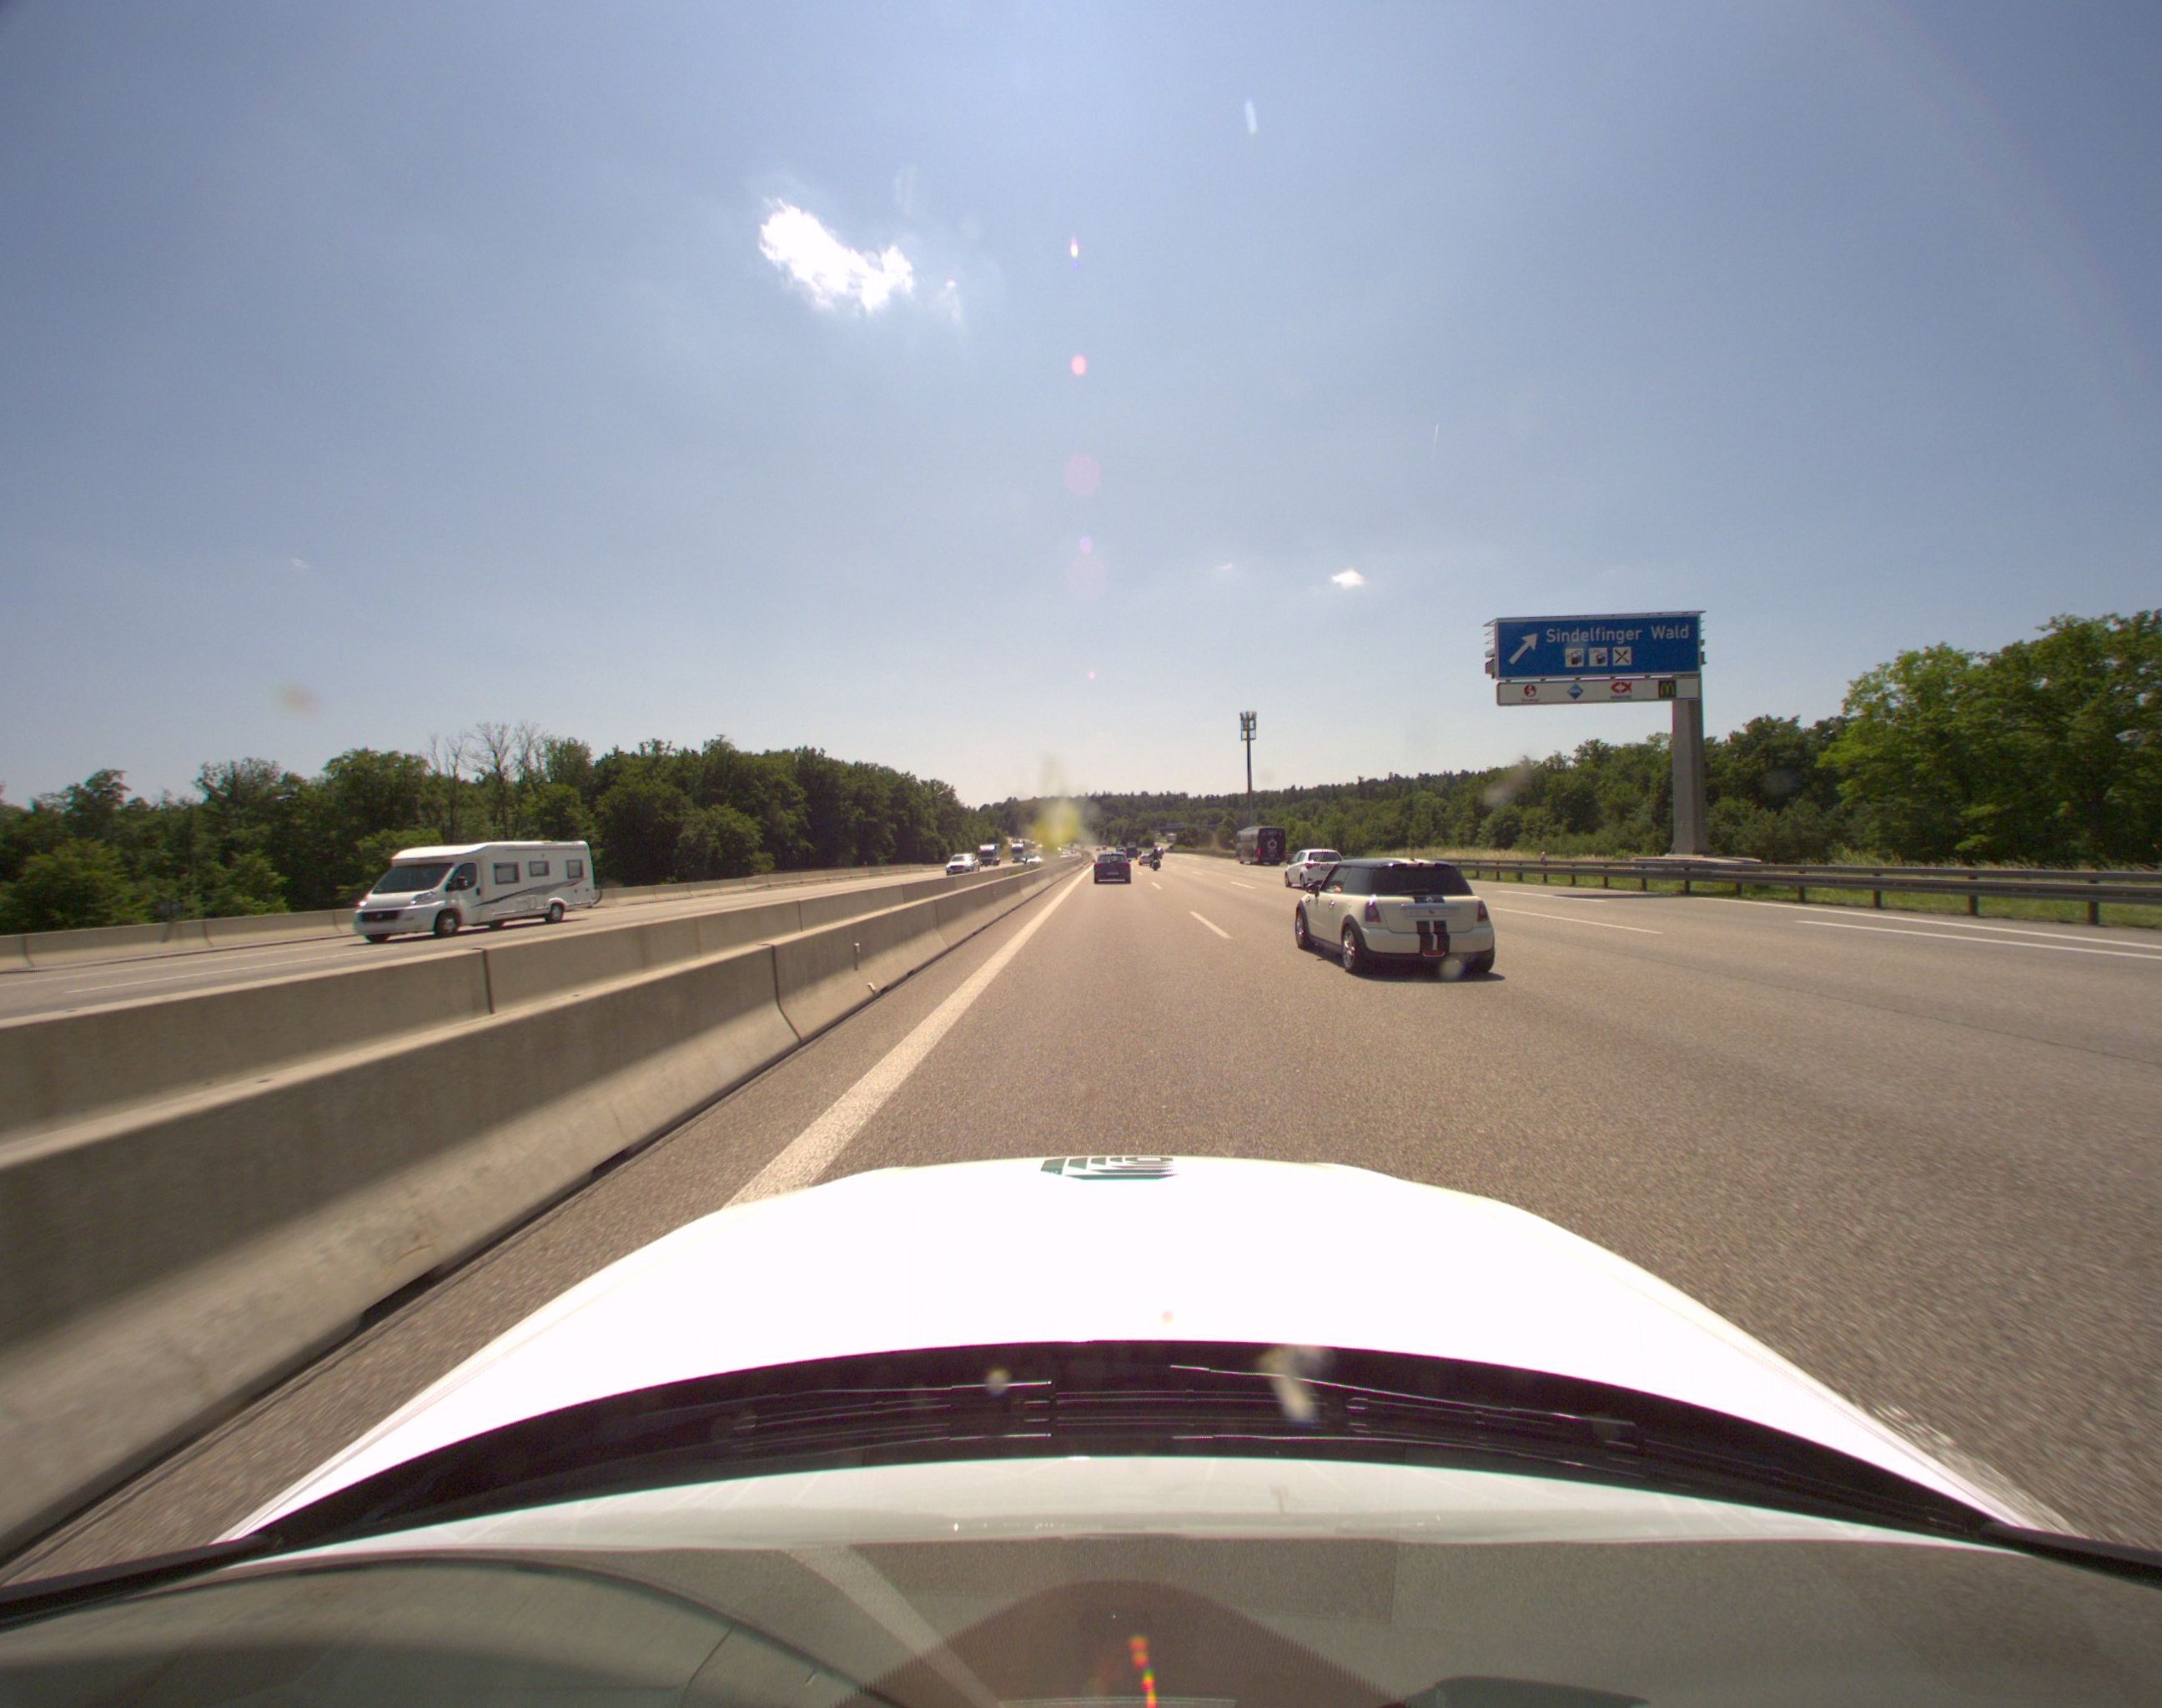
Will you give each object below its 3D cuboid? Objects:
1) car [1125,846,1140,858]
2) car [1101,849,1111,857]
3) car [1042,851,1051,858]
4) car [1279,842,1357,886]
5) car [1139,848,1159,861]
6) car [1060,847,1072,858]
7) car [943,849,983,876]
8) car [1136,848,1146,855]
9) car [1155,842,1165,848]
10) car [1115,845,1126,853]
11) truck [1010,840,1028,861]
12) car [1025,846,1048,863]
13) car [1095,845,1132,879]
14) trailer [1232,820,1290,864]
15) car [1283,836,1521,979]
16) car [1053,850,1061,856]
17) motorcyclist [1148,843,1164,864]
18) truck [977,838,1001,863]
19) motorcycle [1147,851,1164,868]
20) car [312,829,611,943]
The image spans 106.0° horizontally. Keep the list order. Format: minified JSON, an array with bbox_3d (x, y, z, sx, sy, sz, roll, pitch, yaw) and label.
[{"bbox_3d":[8.156,-0.267,128.833,2.091,1.851,4.079,-2,0,-1],"label":"car"},{"bbox_3d":[4.347,-0.182,141.639,1.532,1.212,3.457,-3,0,-3],"label":"car"},{"bbox_3d":[-7.745,0.115,183.238,1.791,1.481,4.399,-4,0,2],"label":"car"},{"bbox_3d":[8.884,0.352,30.926,1.660,1.433,4.376,-5,0,1],"label":"car"},{"bbox_3d":[6.591,0.034,79.176,1.776,1.265,3.461,-2,0,1],"label":"car"},{"bbox_3d":[-2.621,-0.280,143.383,1.766,1.879,5.215,-1,1,3],"label":"car"},{"bbox_3d":[-8.746,0.566,61.018,1.986,1.787,5.321,-4,0,2],"label":"car"},{"bbox_3d":[11.878,-0.509,161.560,1.603,1.212,3.460,-3,0,0],"label":"car"},{"bbox_3d":[16.624,-1.861,171.760,1.603,1.212,3.460,-3,0,0],"label":"car"},{"bbox_3d":[8.755,-1.206,179.449,1.989,1.683,4.420,-1,1,-2],"label":"car"},{"bbox_3d":[-13.142,-0.724,172.381,2.705,4.099,7.879,-4,0,1],"label":"truck"},{"bbox_3d":[-4.497,0.005,83.265,1.842,1.523,5.321,-4,0,2],"label":"car"},{"bbox_3d":[1.519,0.411,38.177,1.618,1.487,3.686,-1,-1,2],"label":"car"},{"bbox_3d":[17.177,-1.070,78.703,2.847,3.687,13.548,-3,0,2],"label":"trailer"},{"bbox_3d":[4.107,0.567,11.166,1.834,1.551,4.003,-1,2,2],"label":"car"},{"bbox_3d":[-6.365,-0.257,213.873,1.791,1.643,5.081,-2,-1,2],"label":"car"},{"bbox_3d":[5.418,-0.051,59.097,0.959,1.437,1.234,-3,1,-1],"label":"motorcyclist"},{"bbox_3d":[-14.589,-0.590,129.657,2.530,3.570,8.579,-4,0,1],"label":"truck"},{"bbox_3d":[5.438,0.379,59.277,0.974,1.129,2.270,-2,0,-1],"label":"motorcycle"},{"bbox_3d":[-17.572,0.761,24.099,2.213,2.658,8.179,-4,0,2],"label":"car"}]
